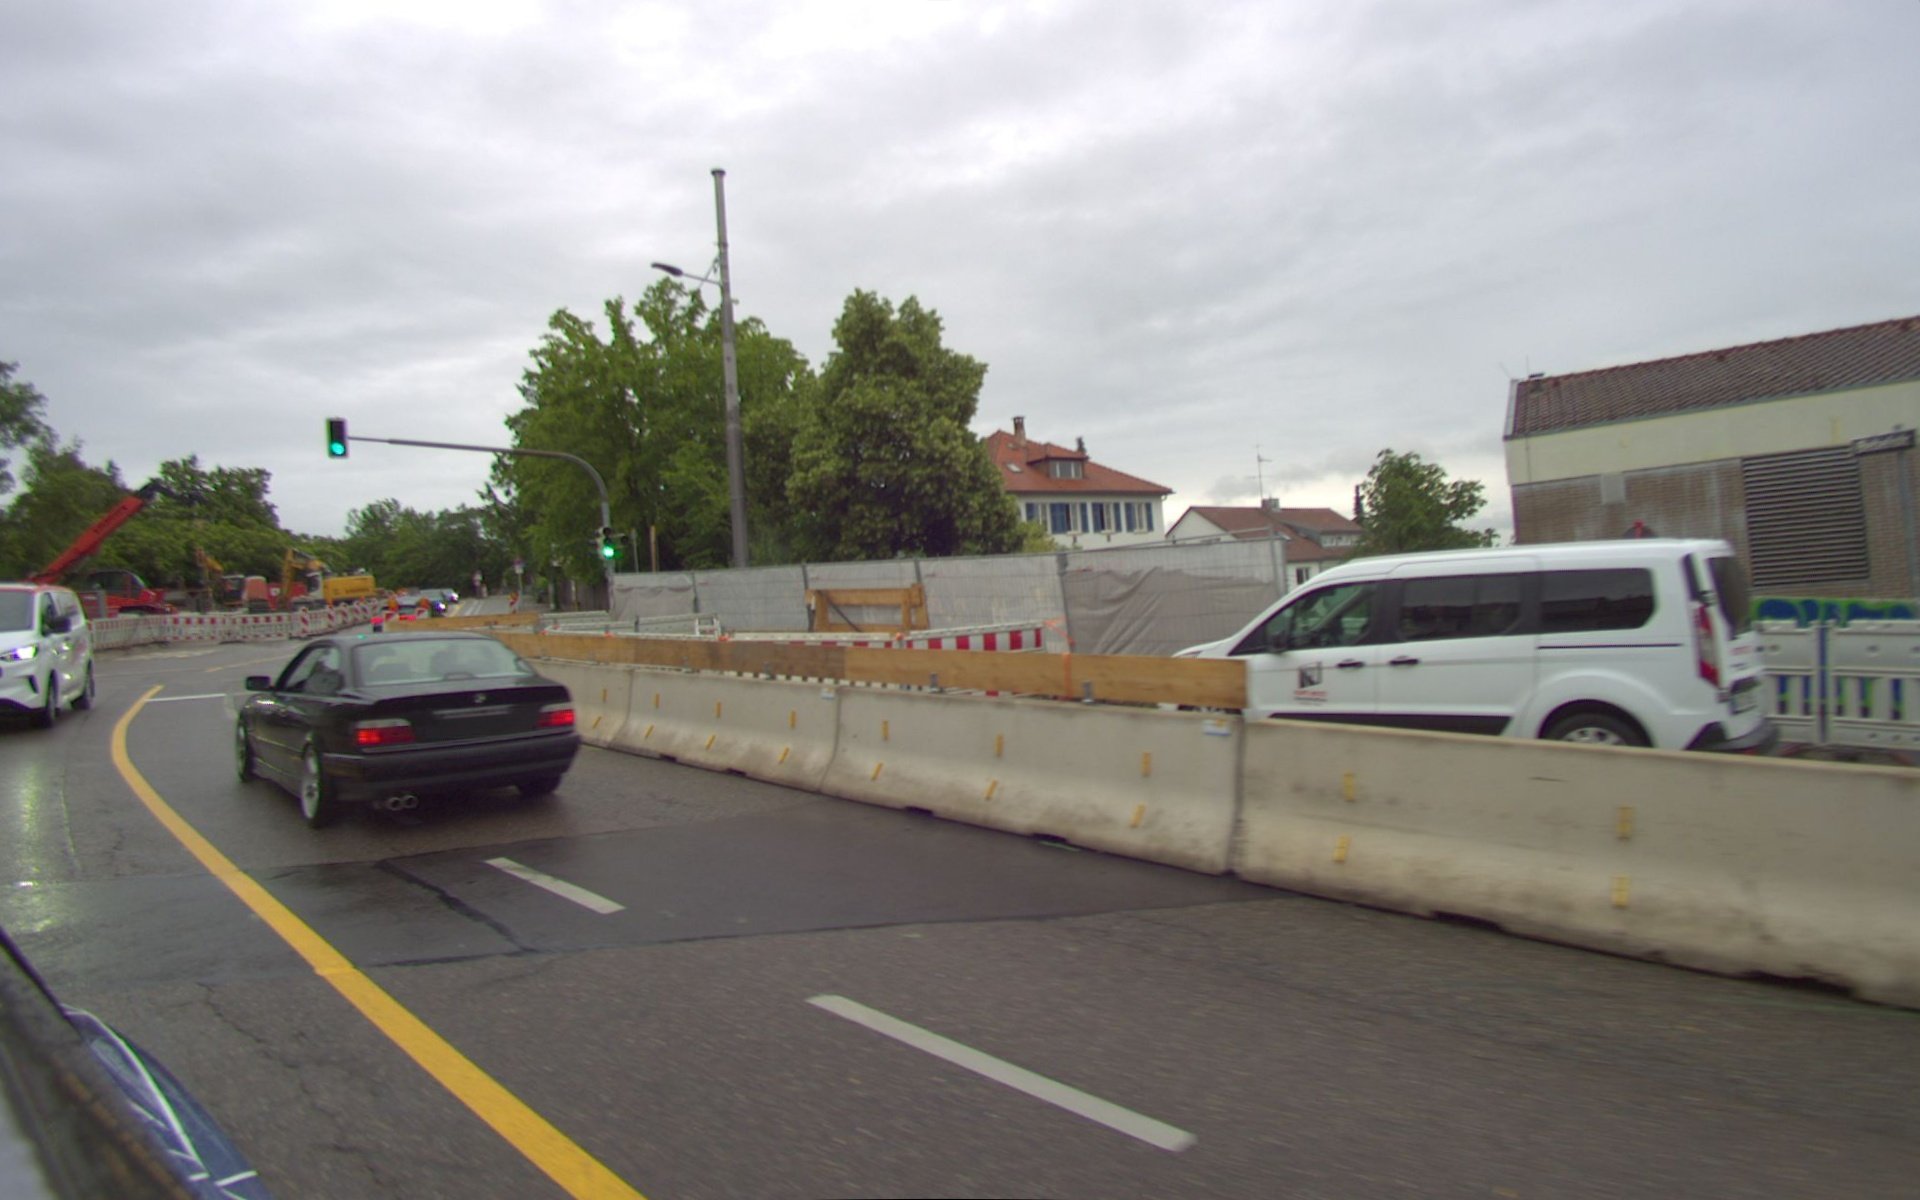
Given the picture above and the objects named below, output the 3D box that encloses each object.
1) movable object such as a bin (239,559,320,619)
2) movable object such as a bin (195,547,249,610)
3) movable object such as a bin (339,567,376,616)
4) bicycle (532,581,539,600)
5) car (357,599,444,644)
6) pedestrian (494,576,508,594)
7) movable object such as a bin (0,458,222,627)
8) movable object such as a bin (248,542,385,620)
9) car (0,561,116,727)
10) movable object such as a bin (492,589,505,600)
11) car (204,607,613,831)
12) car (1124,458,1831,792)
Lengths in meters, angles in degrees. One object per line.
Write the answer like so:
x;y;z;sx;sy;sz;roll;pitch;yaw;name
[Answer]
-42.148;-0.693;62.768;3.934;3.228;2.413;-5;-3;-34;movable object such as a bin
-48.979;-1.406;67.240;1.966;3.917;4.632;-4;2;-27;movable object such as a bin
-44.120;-0.699;74.173;1.966;3.328;3.848;-4;5;-28;movable object such as a bin
-33.271;-0.747;79.295;0.414;1.359;1.749;-4;4;-25;bicycle
-19.758;0.705;35.940;1.759;1.413;4.379;-3;1;-17;car
-46.715;-1.539;103.035;0.978;1.781;0.915;-3;1;36;pedestrian
-36.325;-2.525;43.385;6.853;6.738;3.055;-4;2;-28;movable object such as a bin
-44.364;-1.364;69.609;10.775;4.953;3.038;1;5;30;movable object such as a bin
-13.624;0.554;14.126;1.966;2.029;4.964;1;-1;-30;car
-49.416;-0.590;108.423;0.975;1.115;1.028;-2;0;-44;movable object such as a bin
-4.624;0.748;8.177;4.264;1.321;1.630;0;-2;43;car
3.954;0.450;8.540;1.970;2.029;4.810;5;-10;-43;car
